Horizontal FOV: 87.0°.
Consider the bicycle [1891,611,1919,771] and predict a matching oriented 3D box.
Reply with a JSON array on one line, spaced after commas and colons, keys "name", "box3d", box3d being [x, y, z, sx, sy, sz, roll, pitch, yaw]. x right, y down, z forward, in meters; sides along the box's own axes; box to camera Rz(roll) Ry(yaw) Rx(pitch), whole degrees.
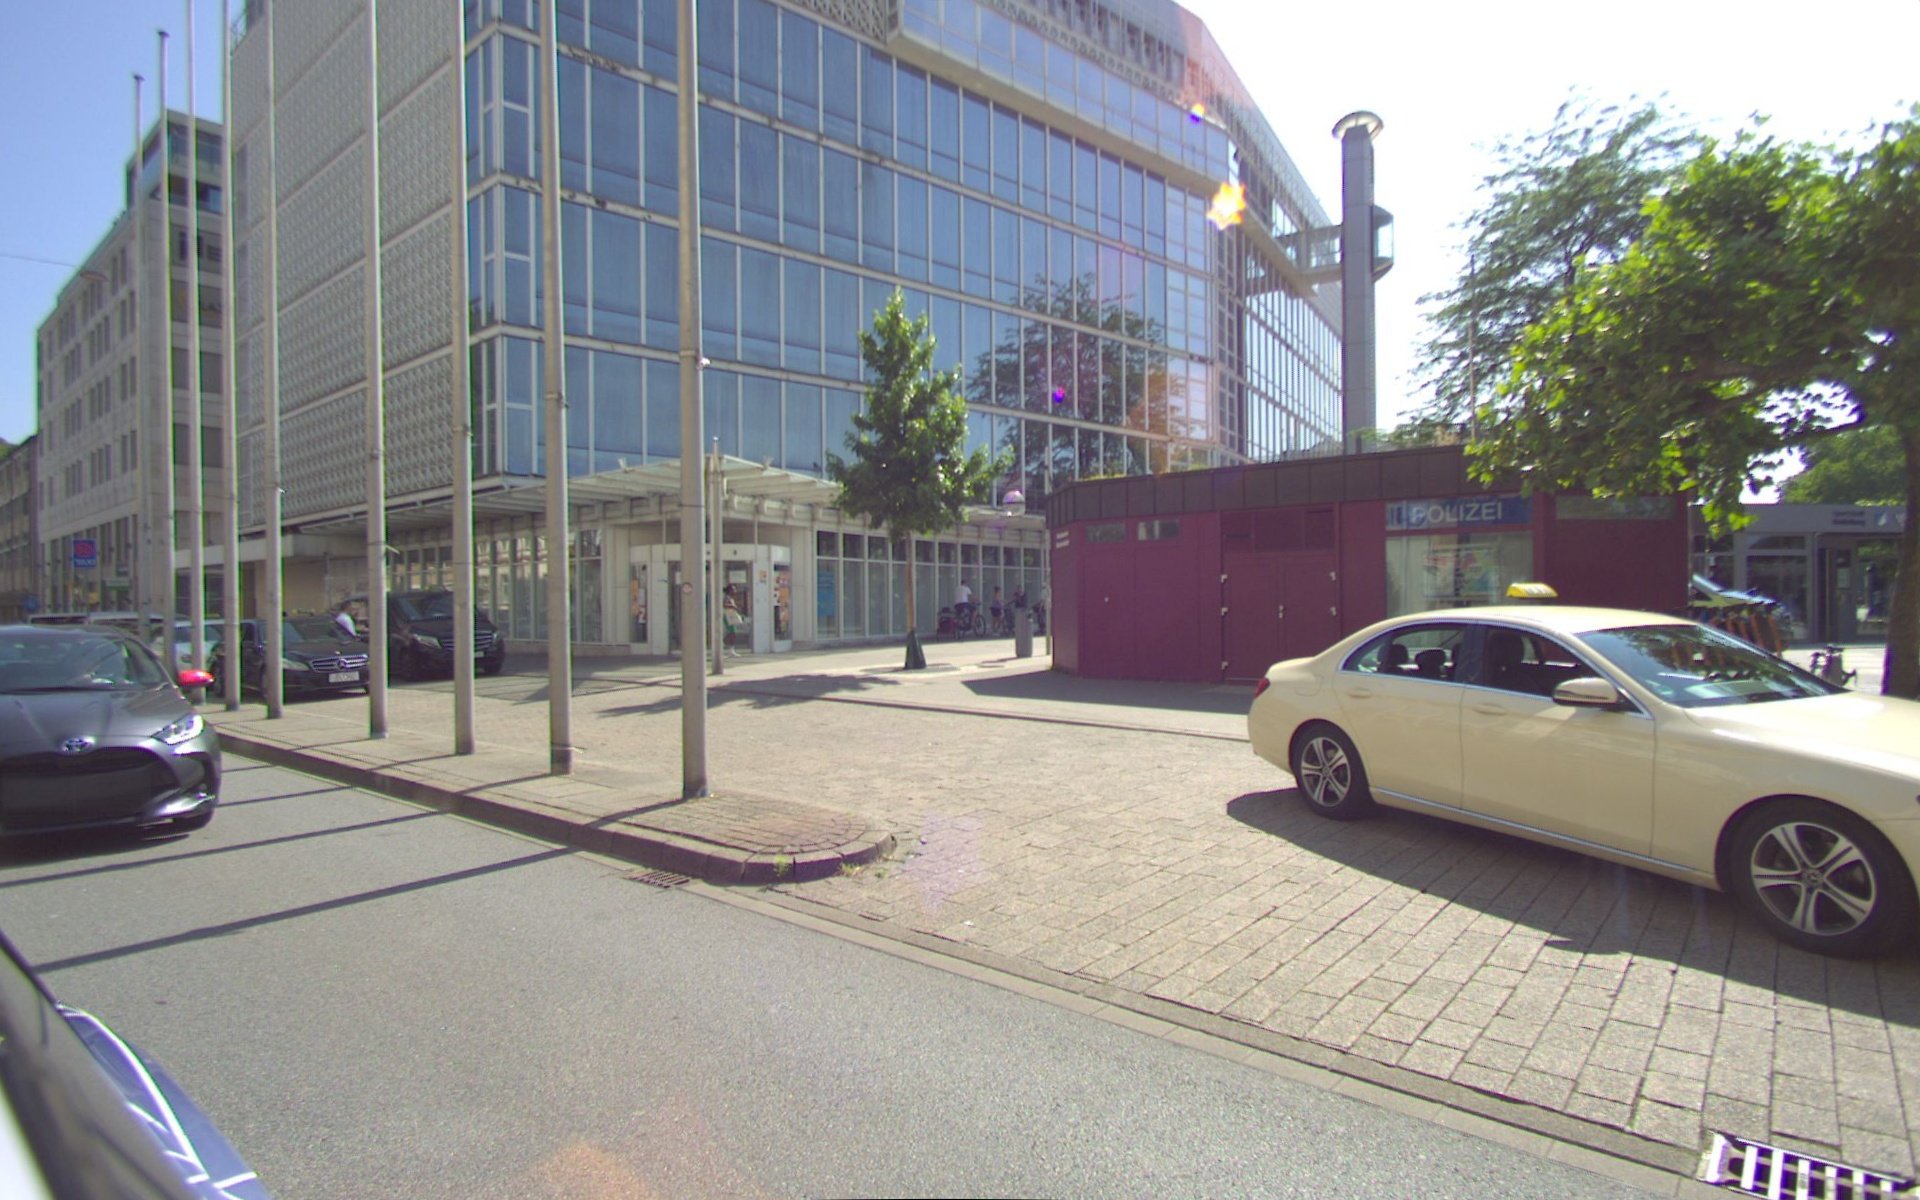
[{"name": "bicycle", "box3d": [7.637, 0.671, 7.755, 0.562, 1.141, 1.765, -2, 0, 38]}]

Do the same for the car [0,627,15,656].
[{"name": "car", "box3d": [-58.988, 2.628, 60.044, 4.108, 1.648, 2.105, -6, 3, -41]}]

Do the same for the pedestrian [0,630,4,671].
[{"name": "pedestrian", "box3d": [-37.152, 1.937, 38.696, 0.678, 1.571, 0.635, -2, 0, 29]}]

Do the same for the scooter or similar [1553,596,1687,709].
[{"name": "scooter or similar", "box3d": [7.572, 0.584, 11.660, 0.230, 1.223, 1.307, -1, 0, -29]}]

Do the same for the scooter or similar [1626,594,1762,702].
[{"name": "scooter or similar", "box3d": [8.727, 0.550, 12.074, 0.230, 1.223, 1.307, -1, 0, -29]}]

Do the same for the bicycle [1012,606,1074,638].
[{"name": "bicycle", "box3d": [2.780, 0.714, 33.741, 2.399, 0.973, 0.652, -2, 0, -45]}]

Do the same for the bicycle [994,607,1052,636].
[{"name": "bicycle", "box3d": [2.173, 0.746, 34.939, 1.930, 0.973, 0.569, -2, 0, 31]}]

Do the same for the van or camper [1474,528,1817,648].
[{"name": "van or camper", "box3d": [12.419, -0.173, 18.602, 5.020, 1.933, 1.854, -1, 0, 40]}]

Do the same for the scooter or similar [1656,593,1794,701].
[{"name": "scooter or similar", "box3d": [9.206, 0.545, 12.222, 0.260, 1.223, 1.307, -1, 0, -29]}]

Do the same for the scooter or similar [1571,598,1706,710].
[{"name": "scooter or similar", "box3d": [7.819, 0.600, 11.719, 0.230, 1.223, 1.307, -1, 0, -29]}]

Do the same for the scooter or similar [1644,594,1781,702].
[{"name": "scooter or similar", "box3d": [8.977, 0.550, 12.113, 0.230, 1.223, 1.307, -1, 0, -29]}]

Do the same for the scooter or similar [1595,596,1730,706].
[{"name": "scooter or similar", "box3d": [8.243, 0.573, 11.926, 0.230, 1.223, 1.307, -1, 0, -29]}]

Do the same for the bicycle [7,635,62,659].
[{"name": "bicycle", "box3d": [-48.439, 2.457, 52.983, 2.029, 1.135, 0.649, -1, -1, -23]}]

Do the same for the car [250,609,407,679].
[{"name": "car", "box3d": [-16.508, 1.103, 26.392, 4.392, 1.622, 1.976, -1, 0, 37]}]

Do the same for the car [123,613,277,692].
[{"name": "car", "box3d": [-16.983, 1.139, 22.532, 4.736, 1.534, 1.780, -2, 0, 41]}]

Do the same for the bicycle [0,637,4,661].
[{"name": "bicycle", "box3d": [-49.373, 2.500, 50.845, 2.033, 1.182, 0.606, -1, 0, -4]}]

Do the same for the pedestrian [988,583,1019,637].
[{"name": "pedestrian", "box3d": [1.465, 0.328, 33.948, 0.651, 1.778, 0.768, -2, 0, 38]}]

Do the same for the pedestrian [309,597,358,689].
[{"name": "pedestrian", "box3d": [-12.562, 0.854, 20.308, 0.610, 1.806, 0.694, -1, -1, -10]}]

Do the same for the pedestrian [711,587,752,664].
[{"name": "pedestrian", "box3d": [-5.284, 0.586, 23.388, 0.674, 1.728, 0.723, 1, -2, -40]}]

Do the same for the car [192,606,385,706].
[{"name": "car", "box3d": [-12.557, 0.979, 18.795, 4.706, 1.612, 1.743, -2, -1, 40]}]

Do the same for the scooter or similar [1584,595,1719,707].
[{"name": "scooter or similar", "box3d": [8.036, 0.572, 11.806, 0.230, 1.223, 1.307, -1, 0, -29]}]

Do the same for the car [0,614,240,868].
[{"name": "car", "box3d": [-6.999, 0.923, 7.552, 4.106, 1.489, 1.843, -3, -4, 43]}]

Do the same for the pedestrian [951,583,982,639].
[{"name": "pedestrian", "box3d": [0.216, 0.366, 32.747, 0.651, 1.778, 0.768, -2, 0, 38]}]

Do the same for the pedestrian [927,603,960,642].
[{"name": "pedestrian", "box3d": [-0.517, 0.692, 31.248, 0.651, 1.155, 0.768, -2, 0, 38]}]

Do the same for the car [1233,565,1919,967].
[{"name": "car", "box3d": [3.903, 0.665, 5.947, 1.864, 1.553, 4.877, -1, -1, -21]}]

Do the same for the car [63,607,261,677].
[{"name": "car", "box3d": [-24.572, 1.259, 31.344, 4.372, 1.924, 2.014, -2, -1, -13]}]

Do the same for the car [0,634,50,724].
[{"name": "car", "box3d": [-17.074, 1.317, 17.458, 4.106, 1.407, 1.710, -1, -1, 43]}]

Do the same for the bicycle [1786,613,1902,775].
[{"name": "bicycle", "box3d": [7.020, 0.687, 8.094, 0.562, 1.113, 1.765, -2, 0, 38]}]

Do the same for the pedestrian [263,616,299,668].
[{"name": "pedestrian", "box3d": [-23.061, 1.408, 34.390, 0.640, 1.673, 0.780, 0, 3, 38]}]

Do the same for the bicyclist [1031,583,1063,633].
[{"name": "bicyclist", "box3d": [2.920, 0.271, 33.904, 0.835, 1.622, 0.651, -1, 0, -45]}]

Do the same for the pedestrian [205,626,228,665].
[{"name": "pedestrian", "box3d": [-32.195, 1.946, 43.844, 0.863, 1.648, 0.582, -2, 0, 41]}]

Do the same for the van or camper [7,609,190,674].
[{"name": "van or camper", "box3d": [-30.915, 1.440, 36.464, 4.585, 2.029, 2.004, -3, 0, -10]}]

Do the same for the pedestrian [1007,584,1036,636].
[{"name": "pedestrian", "box3d": [2.124, 0.349, 34.965, 0.775, 1.778, 0.562, -2, 0, 31]}]

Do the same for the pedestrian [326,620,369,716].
[{"name": "pedestrian", "box3d": [-11.864, 1.302, 19.609, 0.524, 1.806, 0.540, -1, -1, -10]}]

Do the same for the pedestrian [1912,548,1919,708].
[{"name": "pedestrian", "box3d": [10.320, 0.291, 10.361, 0.685, 1.690, 0.666, -2, 0, 33]}]

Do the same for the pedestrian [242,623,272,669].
[{"name": "pedestrian", "box3d": [-23.461, 1.529, 33.780, 0.640, 1.447, 0.587, 0, 3, 38]}]

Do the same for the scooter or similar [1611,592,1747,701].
[{"name": "scooter or similar", "box3d": [8.485, 0.531, 11.986, 0.230, 1.223, 1.307, -1, 0, -29]}]

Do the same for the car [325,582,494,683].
[{"name": "car", "box3d": [-12.369, 0.696, 22.600, 4.683, 2.029, 1.813, -2, -1, 41]}]
